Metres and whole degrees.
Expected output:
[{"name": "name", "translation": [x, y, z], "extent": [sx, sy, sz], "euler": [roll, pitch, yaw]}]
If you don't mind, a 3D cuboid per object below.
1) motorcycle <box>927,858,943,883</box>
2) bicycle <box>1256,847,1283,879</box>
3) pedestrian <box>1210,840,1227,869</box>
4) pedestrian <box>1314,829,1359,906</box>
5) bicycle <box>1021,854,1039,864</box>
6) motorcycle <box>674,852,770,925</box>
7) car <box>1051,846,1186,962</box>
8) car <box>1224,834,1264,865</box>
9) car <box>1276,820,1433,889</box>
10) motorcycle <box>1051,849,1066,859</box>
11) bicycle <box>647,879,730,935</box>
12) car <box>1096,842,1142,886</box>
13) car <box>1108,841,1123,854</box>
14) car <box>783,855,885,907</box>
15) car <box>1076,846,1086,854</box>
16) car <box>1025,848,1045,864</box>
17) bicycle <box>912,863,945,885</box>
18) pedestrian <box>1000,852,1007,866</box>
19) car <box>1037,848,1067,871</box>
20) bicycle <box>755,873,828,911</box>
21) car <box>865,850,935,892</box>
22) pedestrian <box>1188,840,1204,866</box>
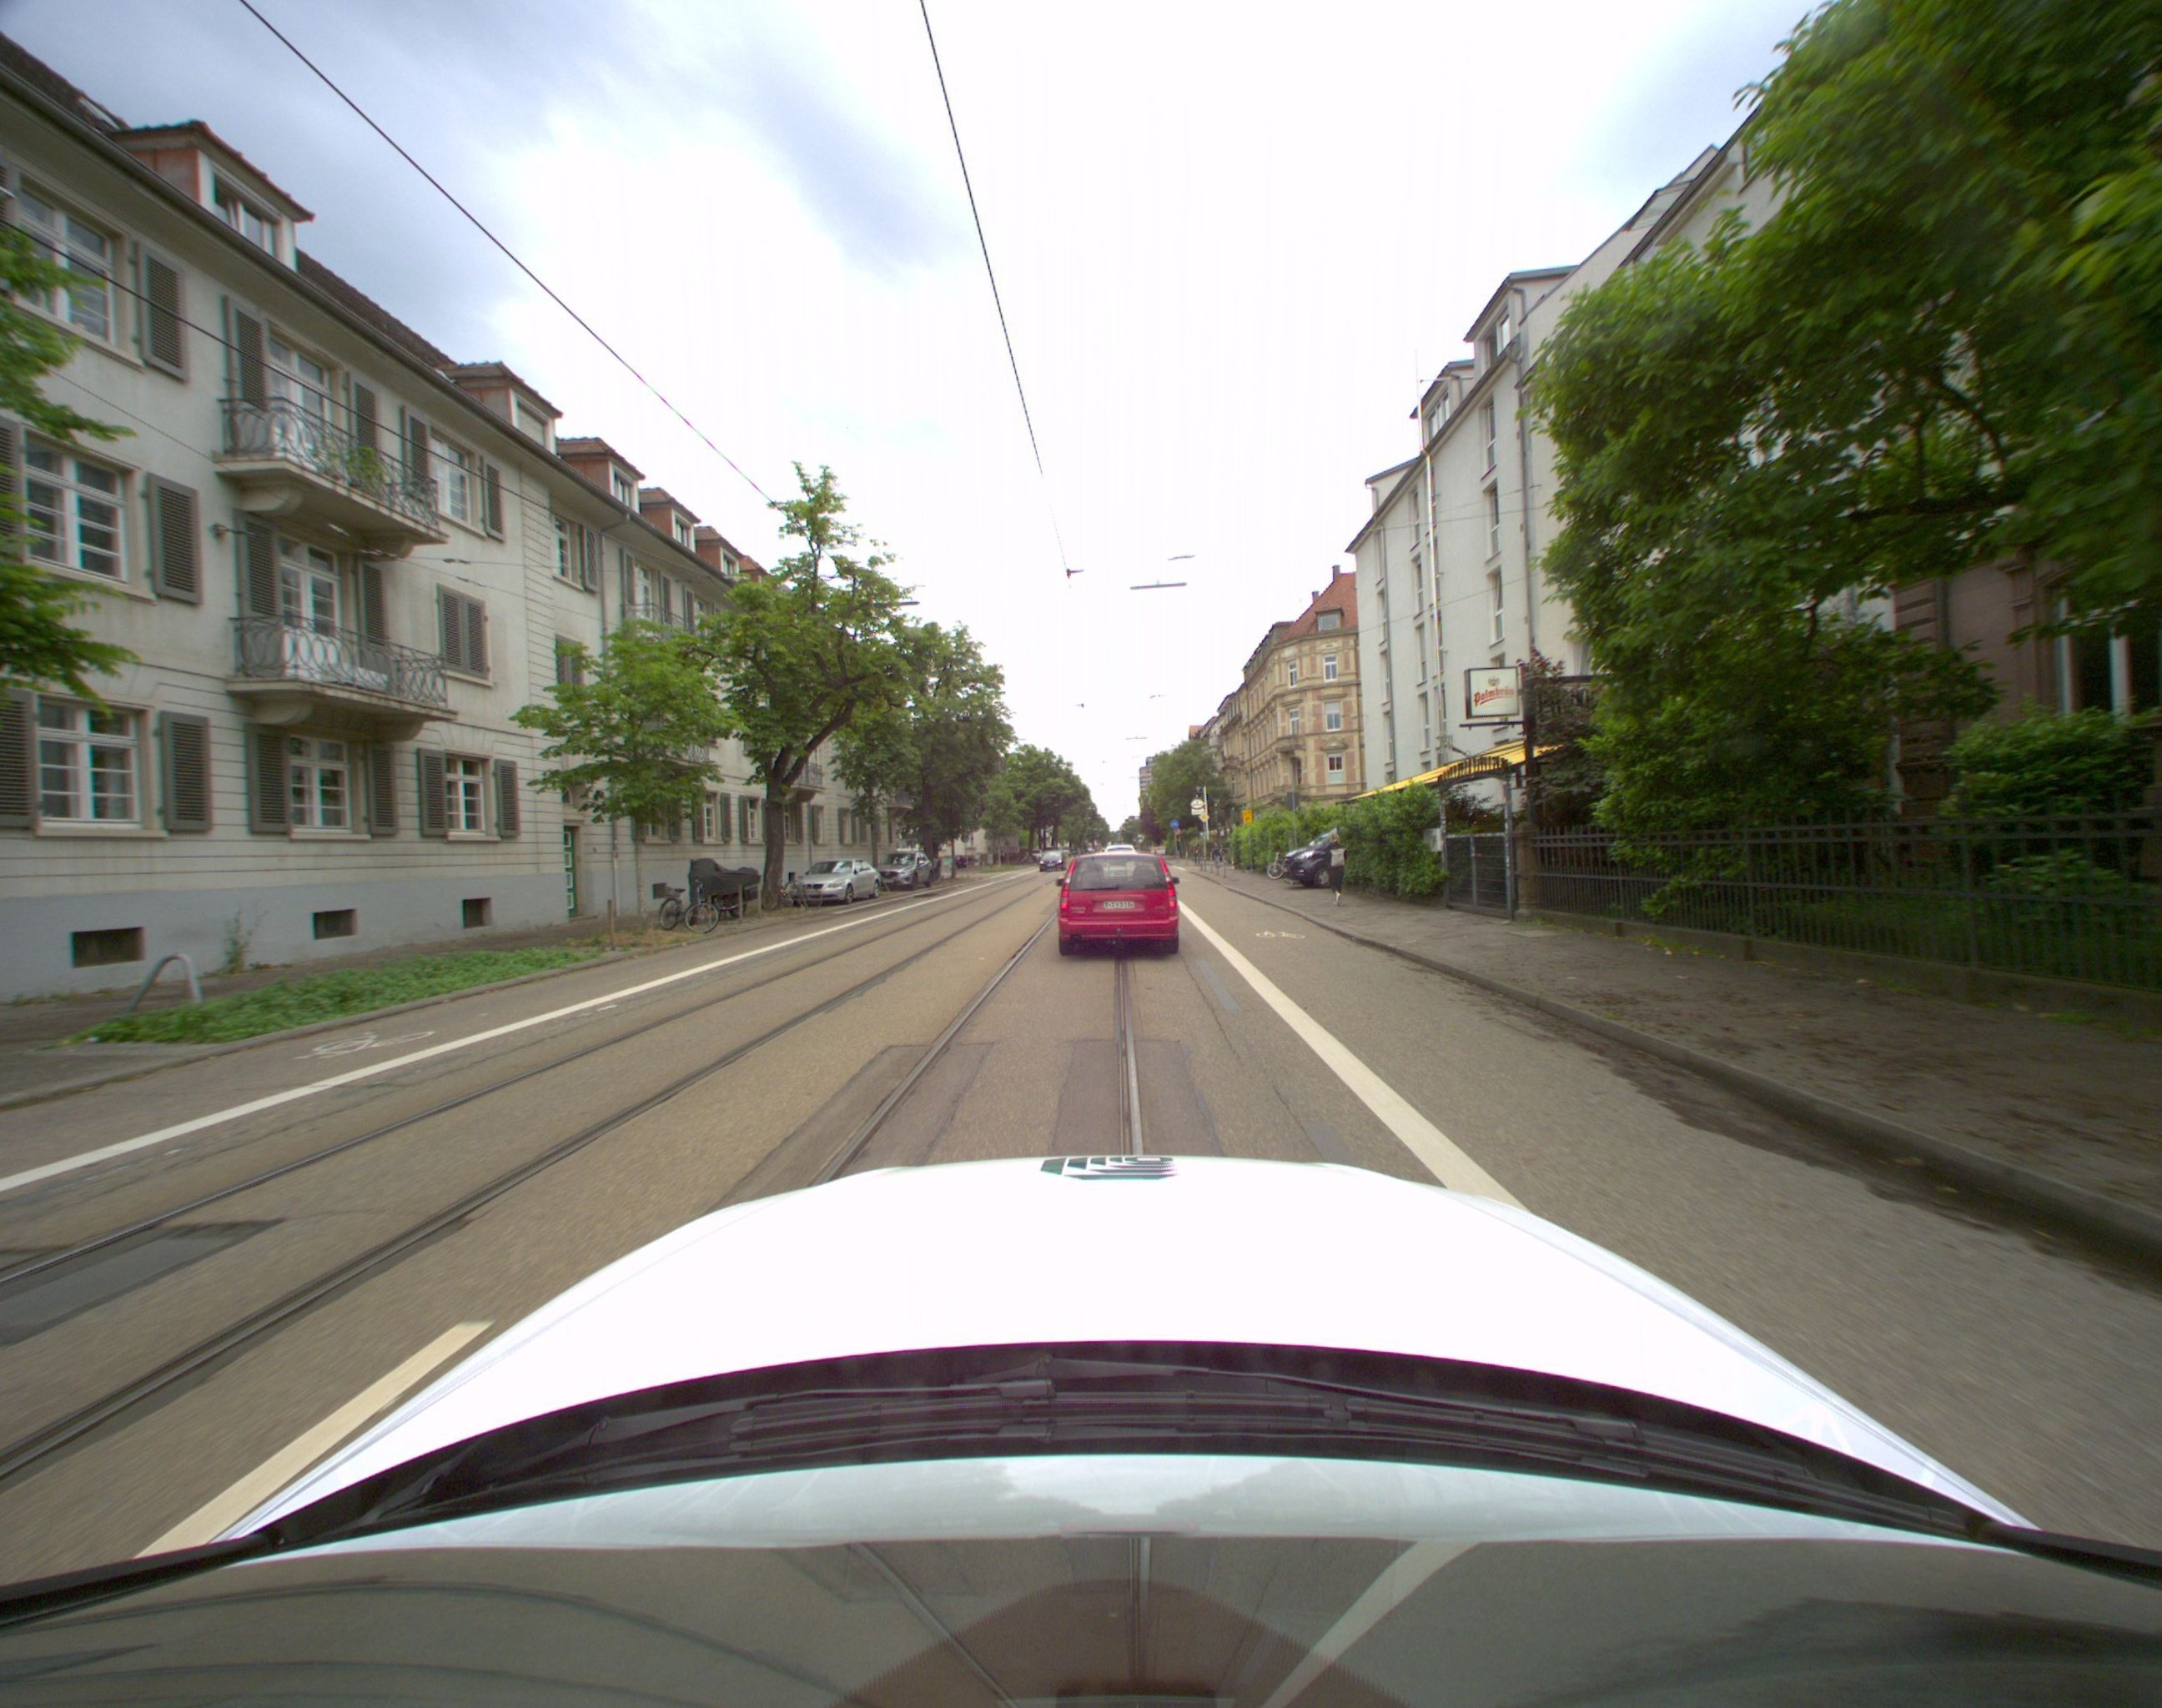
[{"name": "motorcycle", "translation": [-7.697, 0.845, 42.934], "extent": [0.539, 1.257, 2.139], "euler": [-3, 0, -4]}, {"name": "bicycle", "translation": [7.326, 0.343, 31.748], "extent": [0.630, 1.127, 1.813], "euler": [-5, 1, 2]}, {"name": "pedestrian", "translation": [8.227, 0.037, 48.787], "extent": [0.790, 1.636, 0.836], "euler": [-4, 0, 2]}, {"name": "pedestrian", "translation": [5.851, 0.305, 18.680], "extent": [0.621, 1.671, 0.960], "euler": [-5, 0, 2]}, {"name": "bicycle", "translation": [-5.630, 0.570, 89.977], "extent": [1.915, 1.121, 0.624], "euler": [-1, 0, 2]}, {"name": "motorcycle", "translation": [-8.798, 0.800, 20.107], "extent": [0.827, 1.643, 2.487], "euler": [-3, 0, 10]}, {"name": "car", "translation": [0.636, 0.620, 12.225], "extent": [1.681, 1.441, 3.748], "euler": [-2, 0, 5]}, {"name": "car", "translation": [11.165, -0.352, 55.579], "extent": [2.036, 1.877, 5.052], "euler": [-3, 0, 18]}, {"name": "car", "translation": [8.441, 0.008, 25.441], "extent": [4.261, 1.809, 1.826], "euler": [-3, 0, 4]}, {"name": "motorcycle", "translation": [-3.699, -0.019, 134.754], "extent": [2.243, 1.511, 0.933], "euler": [-3, -2, 37]}, {"name": "bicycle", "translation": [-8.568, 1.154, 17.756], "extent": [1.727, 1.129, 0.520], "euler": [-3, 0, 20]}, {"name": "car", "translation": [1.628, 0.378, 33.589], "extent": [1.711, 1.624, 3.946], "euler": [-2, 0, 4]}, {"name": "car", "translation": [4.585, -0.866, 108.808], "extent": [1.735, 1.606, 4.000], "euler": [-2, 0, 0]}, {"name": "car", "translation": [-8.065, 0.838, 27.080], "extent": [1.805, 1.465, 4.616], "euler": [-2, 0, 2]}, {"name": "car", "translation": [0.025, -0.906, 179.641], "extent": [1.844, 1.563, 3.945], "euler": [-2, 0, 2]}, {"name": "car", "translation": [-5.253, 0.213, 93.952], "extent": [1.890, 1.655, 4.227], "euler": [-2, 0, 1]}, {"name": "bicycle", "translation": [-7.416, 0.974, 39.626], "extent": [1.369, 1.005, 0.931], "euler": [0, 1, 6]}, {"name": "pedestrian", "translation": [-8.436, 0.502, 88.566], "extent": [0.562, 1.467, 0.723], "euler": [-3, 0, 2]}, {"name": "car", "translation": [-1.932, 0.373, 55.936], "extent": [1.722, 1.408, 3.657], "euler": [-3, 0, 2]}, {"name": "bicycle", "translation": [-8.379, 1.106, 23.618], "extent": [1.889, 1.027, 0.563], "euler": [-1, 0, -2]}, {"name": "car", "translation": [-7.726, 0.670, 35.123], "extent": [1.830, 1.661, 4.297], "euler": [0, 1, 3]}, {"name": "pedestrian", "translation": [7.876, -0.075, 55.644], "extent": [0.866, 1.655, 0.912], "euler": [-3, 0, 15]}]
